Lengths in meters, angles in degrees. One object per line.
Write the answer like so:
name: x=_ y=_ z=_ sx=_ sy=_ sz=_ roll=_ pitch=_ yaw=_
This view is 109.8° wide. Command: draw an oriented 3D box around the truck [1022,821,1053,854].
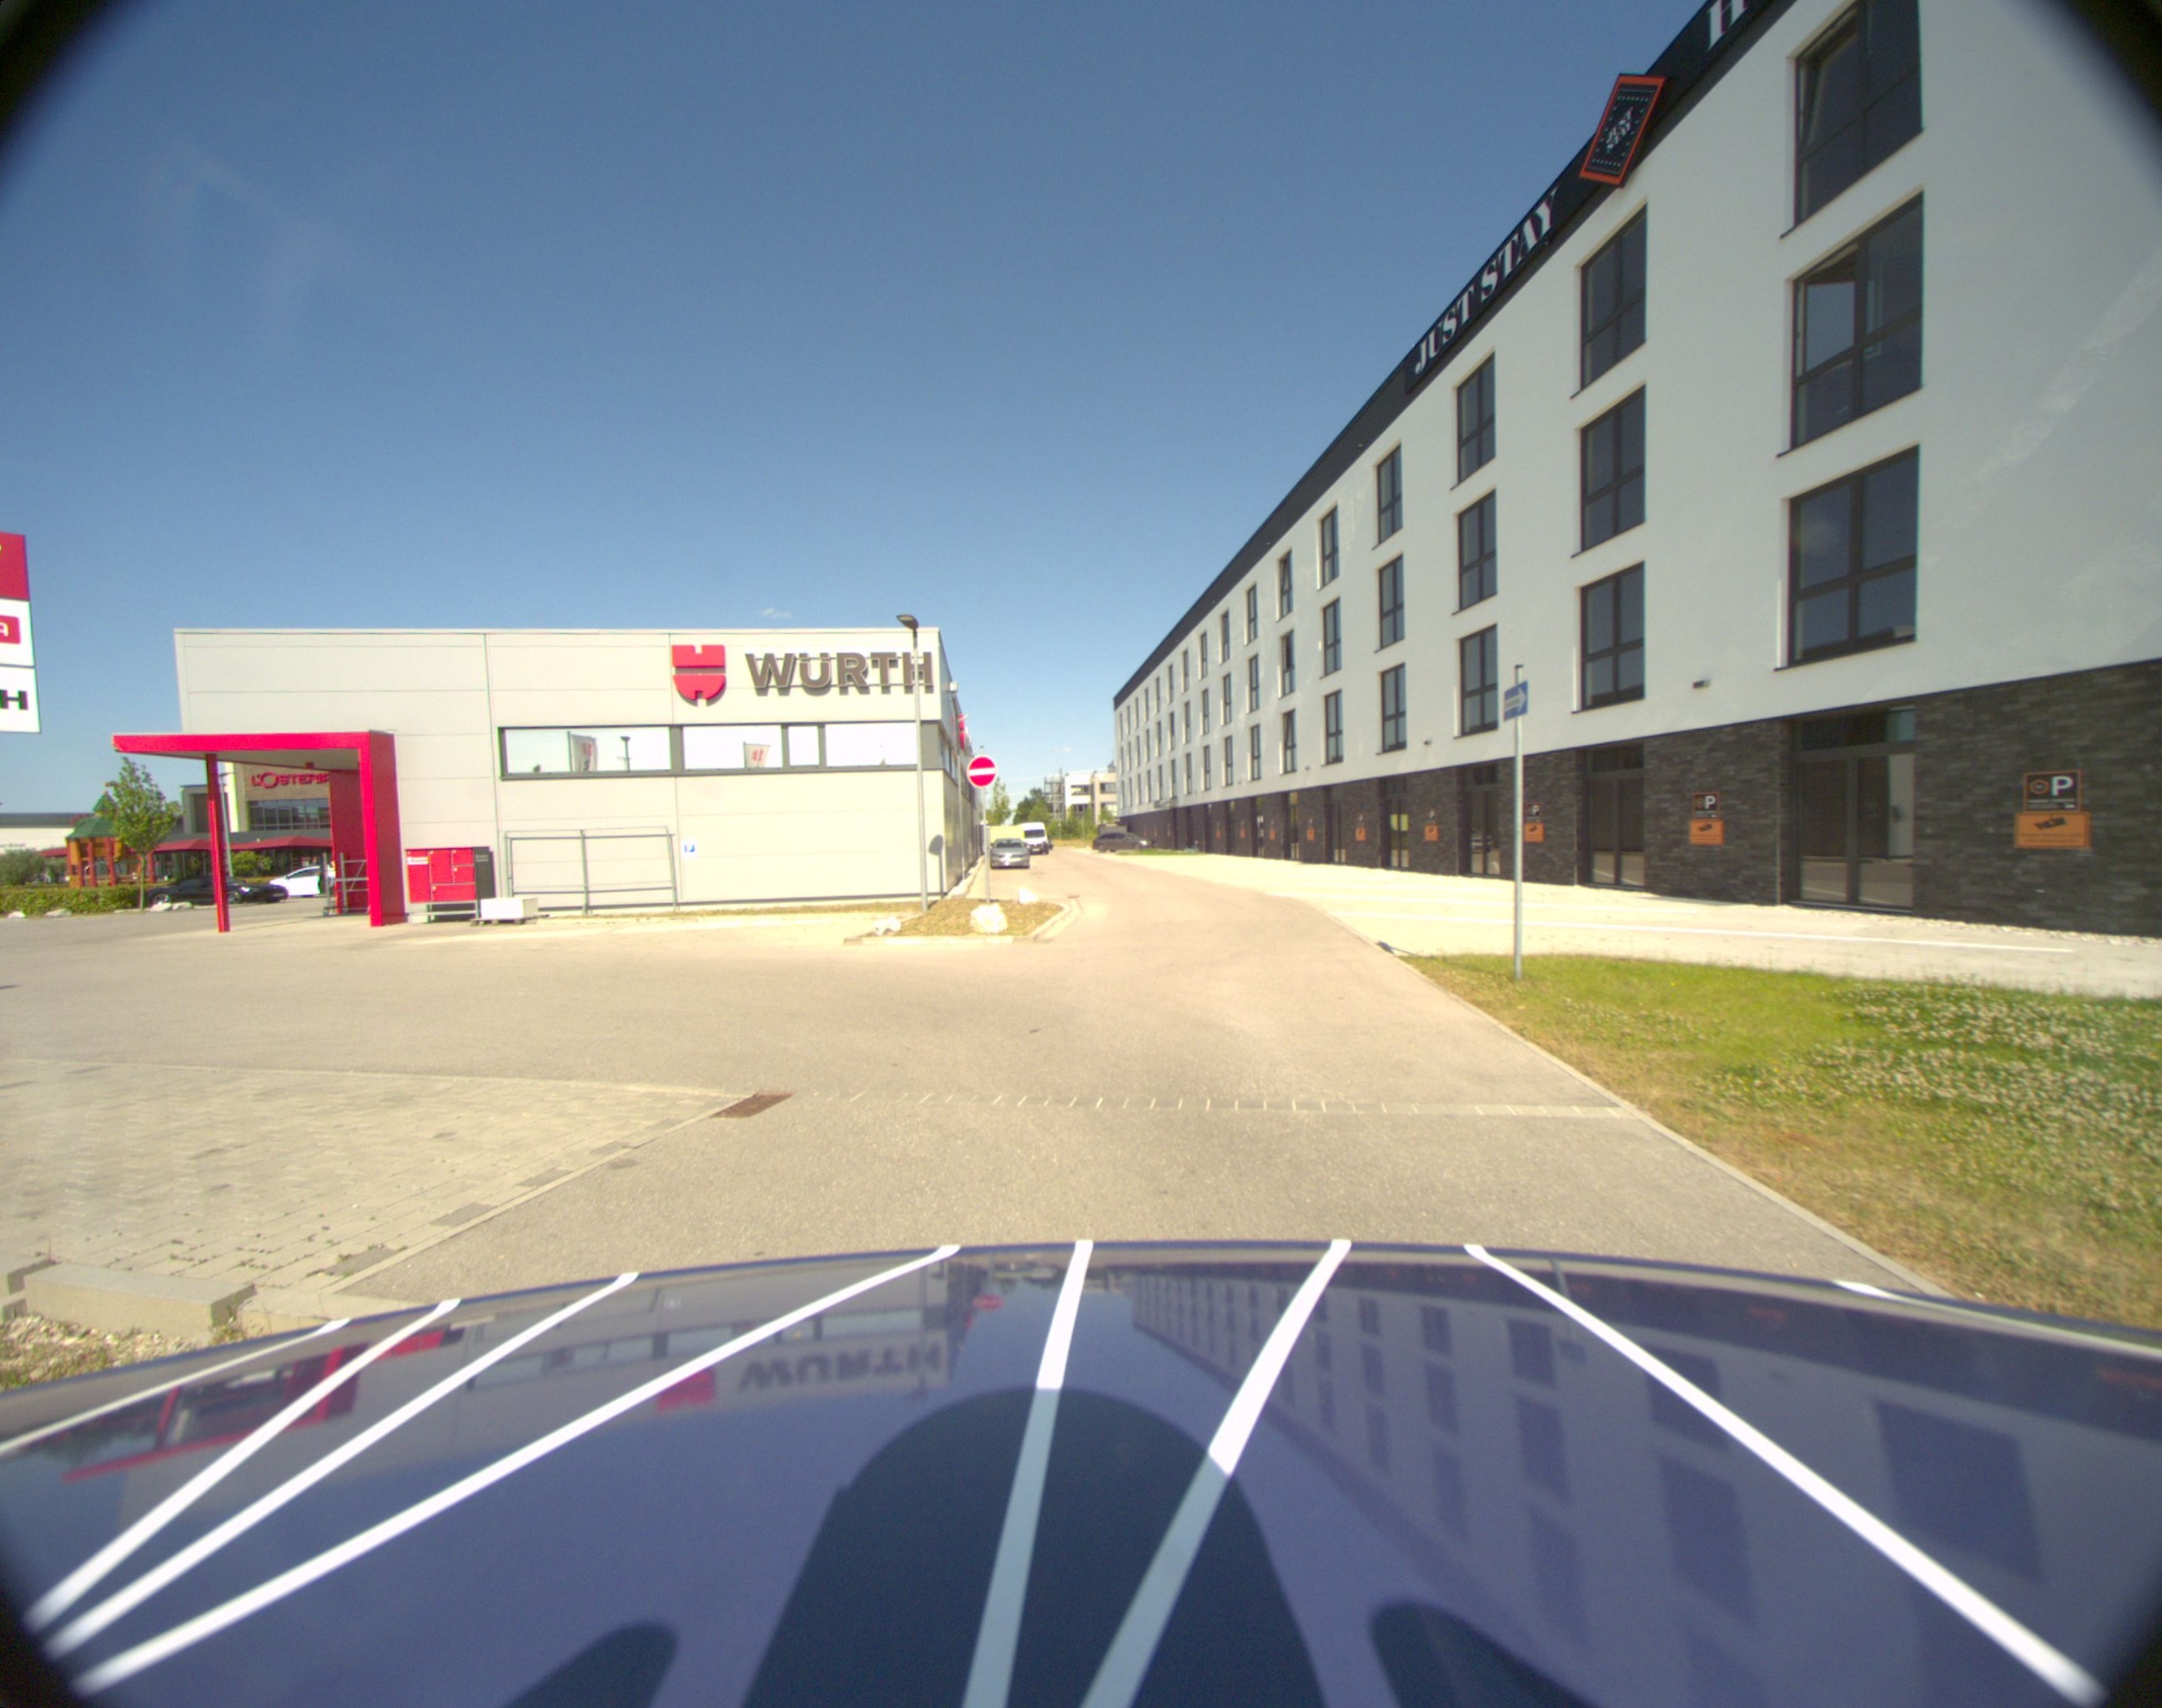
truck: x=-3.408 y=-1.296 z=58.966 sx=2.000 sy=2.363 sz=5.885 roll=-3 pitch=2 yaw=-6

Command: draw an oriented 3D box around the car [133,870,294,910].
car: x=-35.952 y=1.458 z=31.608 sx=4.154 sy=1.330 sz=1.829 roll=-3 pitch=2 yaw=-8

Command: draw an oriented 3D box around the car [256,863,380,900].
car: x=-36.514 y=1.291 z=36.430 sx=3.912 sy=1.466 sz=1.802 roll=-3 pitch=2 yaw=-2

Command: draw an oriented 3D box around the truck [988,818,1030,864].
truck: x=-4.158 y=-0.757 z=43.195 sx=2.123 sy=2.363 sz=5.885 roll=-3 pitch=2 yaw=-6

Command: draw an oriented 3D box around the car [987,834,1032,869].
car: x=-3.502 y=-0.184 z=36.576 sx=1.879 sy=1.500 sz=3.996 roll=-3 pitch=2 yaw=-8

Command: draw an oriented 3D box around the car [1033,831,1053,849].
car: x=-3.564 y=-1.368 z=72.405 sx=1.718 sy=1.609 sz=3.997 roll=-3 pitch=3 yaw=-2

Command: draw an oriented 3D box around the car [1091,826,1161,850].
car: x=3.180 y=-1.097 z=53.697 sx=4.513 sy=1.500 sz=1.882 roll=-1 pitch=2 yaw=30
